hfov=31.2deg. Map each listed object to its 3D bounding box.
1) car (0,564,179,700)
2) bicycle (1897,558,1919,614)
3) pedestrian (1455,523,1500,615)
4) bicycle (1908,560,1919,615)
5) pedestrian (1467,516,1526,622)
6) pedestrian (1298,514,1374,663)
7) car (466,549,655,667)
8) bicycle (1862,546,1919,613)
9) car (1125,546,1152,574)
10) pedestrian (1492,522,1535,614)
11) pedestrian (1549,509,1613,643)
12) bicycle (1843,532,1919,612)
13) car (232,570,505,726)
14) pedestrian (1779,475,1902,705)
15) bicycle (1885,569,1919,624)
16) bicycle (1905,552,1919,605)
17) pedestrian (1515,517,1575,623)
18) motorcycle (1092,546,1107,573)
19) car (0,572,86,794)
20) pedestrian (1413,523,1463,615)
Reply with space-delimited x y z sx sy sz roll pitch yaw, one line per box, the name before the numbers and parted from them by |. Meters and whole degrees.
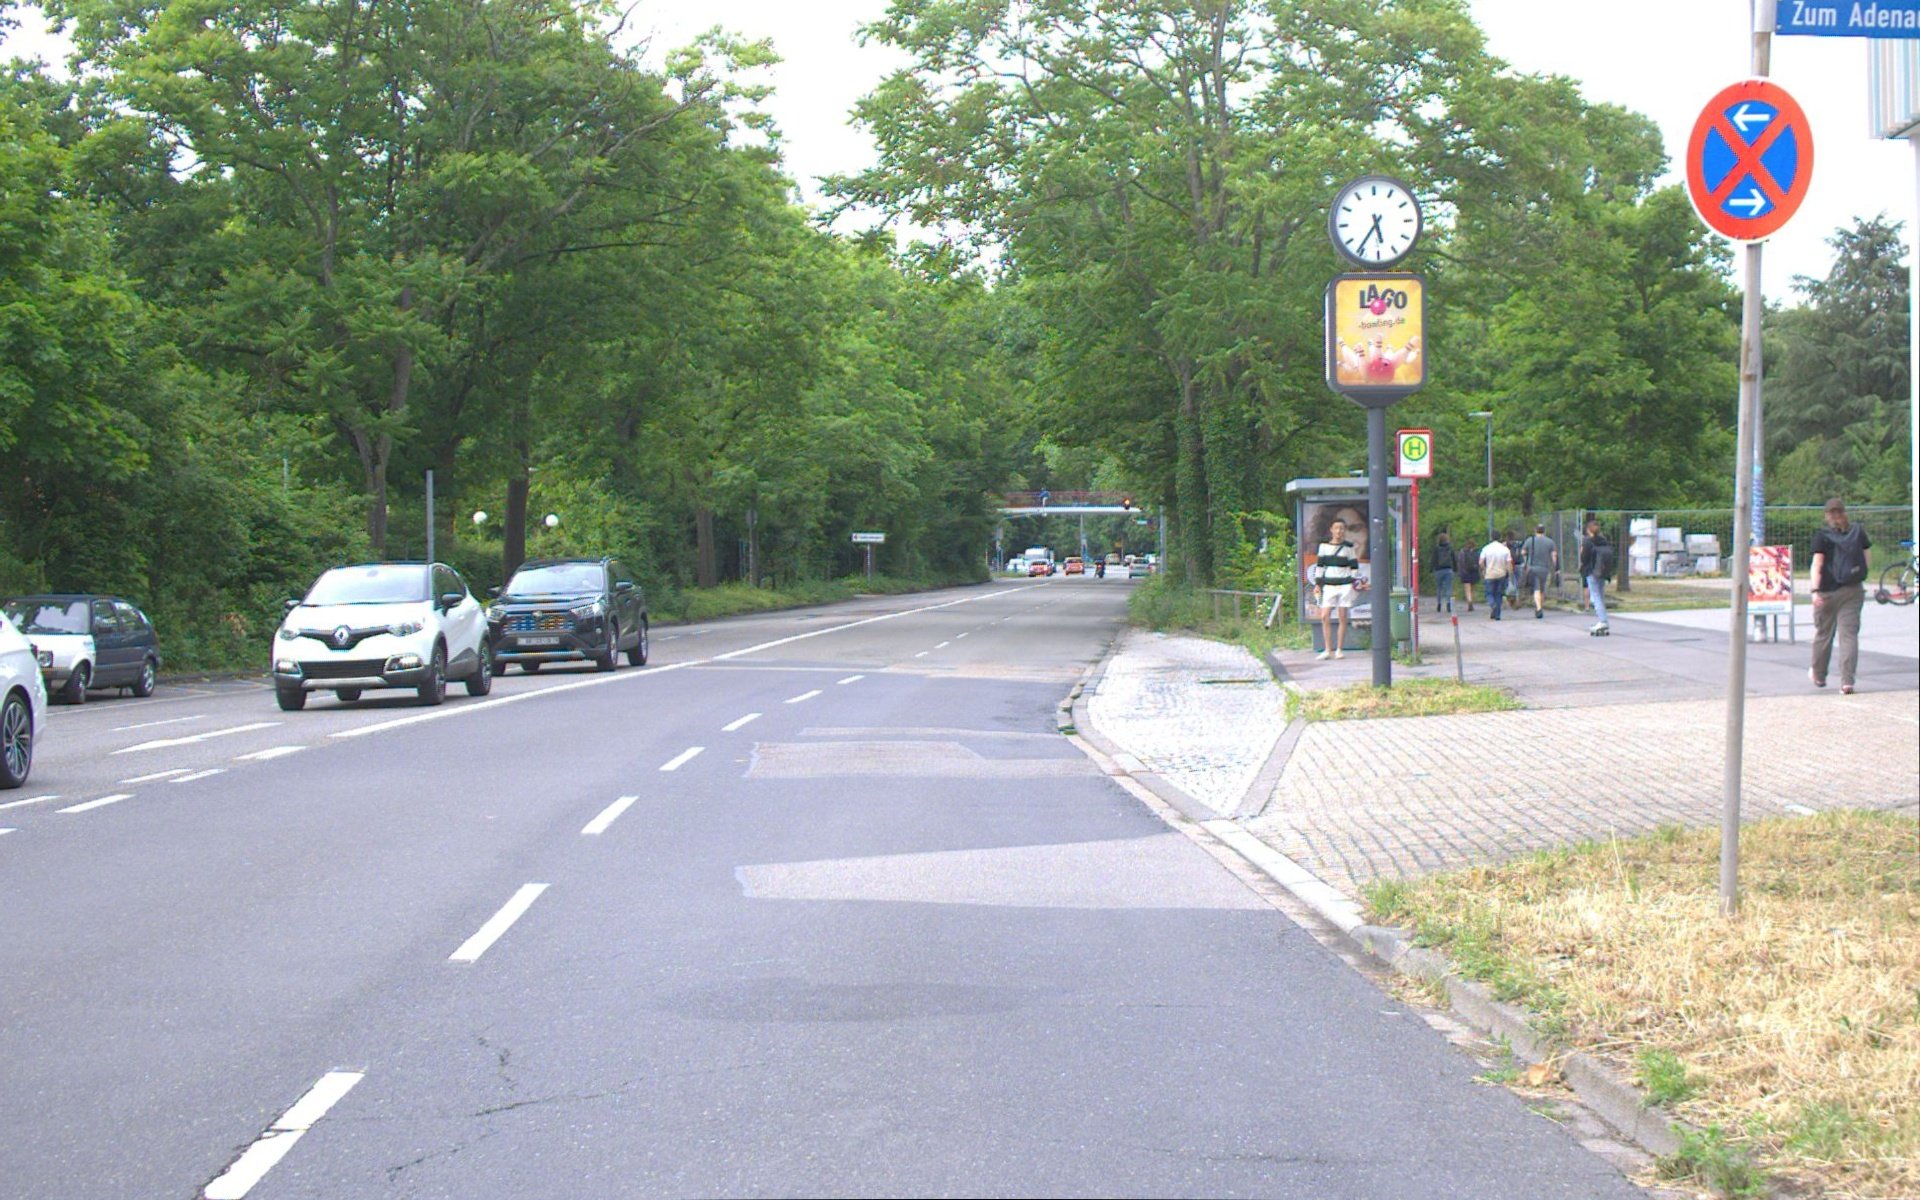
car | -11.705 0.379 44.664 1.994 1.684 4.000 0 1 4
bicycle | 16.024 -0.251 55.509 1.606 0.872 0.556 -2 0 4
pedestrian | 11.452 -0.677 76.070 0.824 2.007 0.720 -1 0 -1
bicycle | 15.922 -0.232 54.521 1.606 0.872 0.556 -2 0 4
pedestrian | 10.363 -0.598 66.477 0.925 2.007 1.040 -1 0 -1
pedestrian | 5.247 -0.172 48.060 0.912 2.006 0.854 -3 2 3
car | -5.713 0.091 49.693 1.903 1.588 4.516 -1 0 4
bicycle | 16.337 -0.373 58.448 1.794 1.078 0.626 -3 0 2
car | 12.851 -2.872 247.349 1.843 2.007 4.000 1 1 4
pedestrian | 12.327 -0.715 76.543 0.824 2.007 0.720 -2 0 3
pedestrian | 9.402 -0.365 52.049 0.843 2.007 0.894 -1 0 5
bicycle | 16.370 -0.497 60.227 1.648 1.329 0.463 -3 0 17
car | -6.442 0.482 37.887 1.994 1.541 4.179 -3 0 4
pedestrian | 7.927 -0.092 30.983 0.843 2.007 0.894 -3 0 5
bicycle | 16.079 -0.074 56.468 1.606 0.872 0.556 -2 0 4
bicycle | 16.643 -0.377 57.281 1.606 0.872 0.556 -1 1 0
pedestrian | 11.269 -0.573 66.234 0.925 2.007 1.040 -1 0 -1
motorcycle | 10.213 -2.965 251.241 0.990 1.929 2.669 1 1 4
car | -7.387 0.558 22.311 1.904 1.460 4.910 1 1 4
pedestrian | 10.654 -0.686 76.664 0.925 2.007 1.040 -1 0 -1
